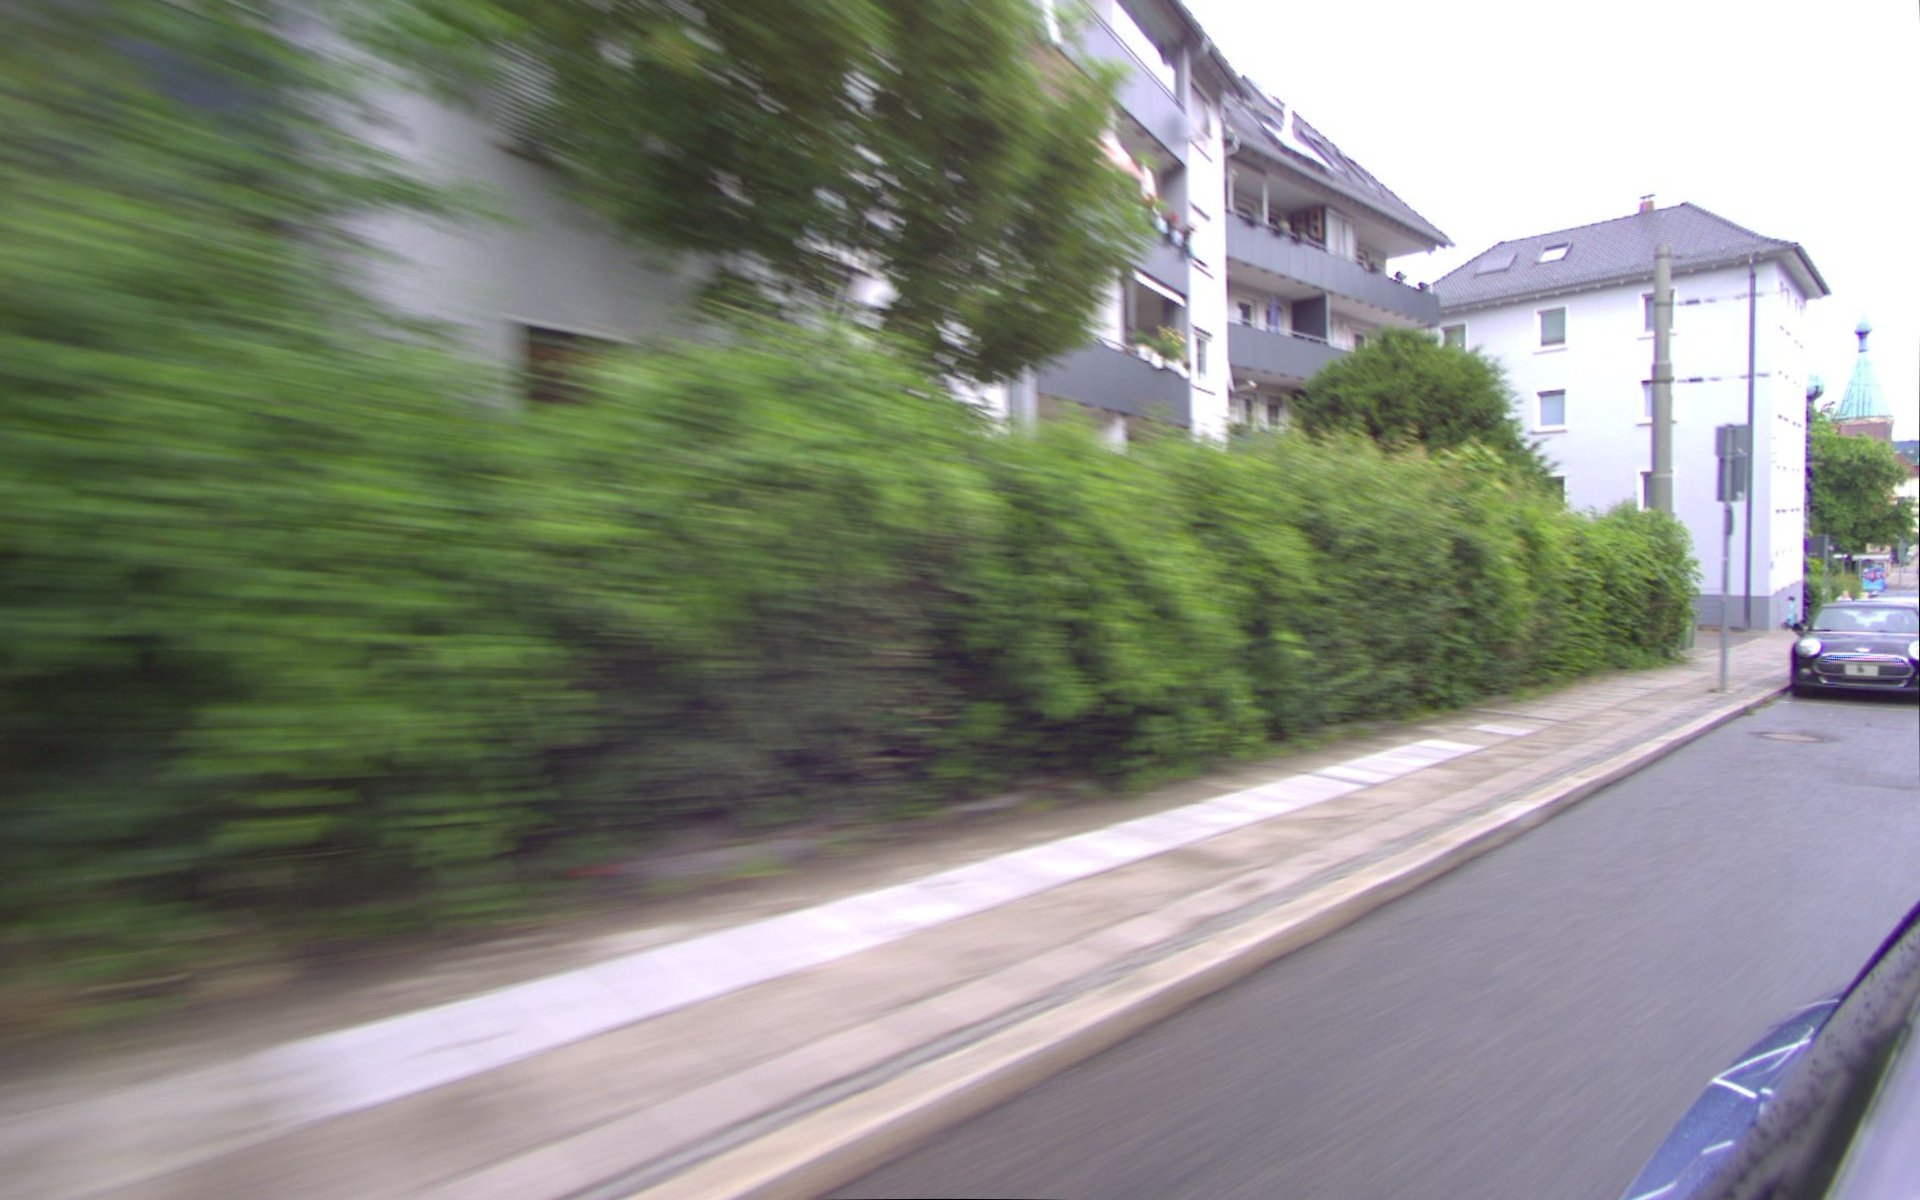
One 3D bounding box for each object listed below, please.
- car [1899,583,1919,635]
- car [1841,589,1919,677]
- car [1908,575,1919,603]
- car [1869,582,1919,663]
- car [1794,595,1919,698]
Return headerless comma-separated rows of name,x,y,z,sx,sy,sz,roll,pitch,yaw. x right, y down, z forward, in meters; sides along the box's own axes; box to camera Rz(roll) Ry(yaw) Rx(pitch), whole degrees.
car,33.160,0.290,34.298,3.934,1.704,1.723,-1,1,-44
car,17.796,0.552,18.878,3.934,1.507,1.723,-1,1,-44
car,59.171,-0.682,61.788,3.934,1.704,1.723,-1,1,-44
car,21.631,0.445,22.584,3.934,1.704,1.723,-1,1,-44
car,14.154,0.626,15.473,3.934,1.375,1.723,-1,1,-44
